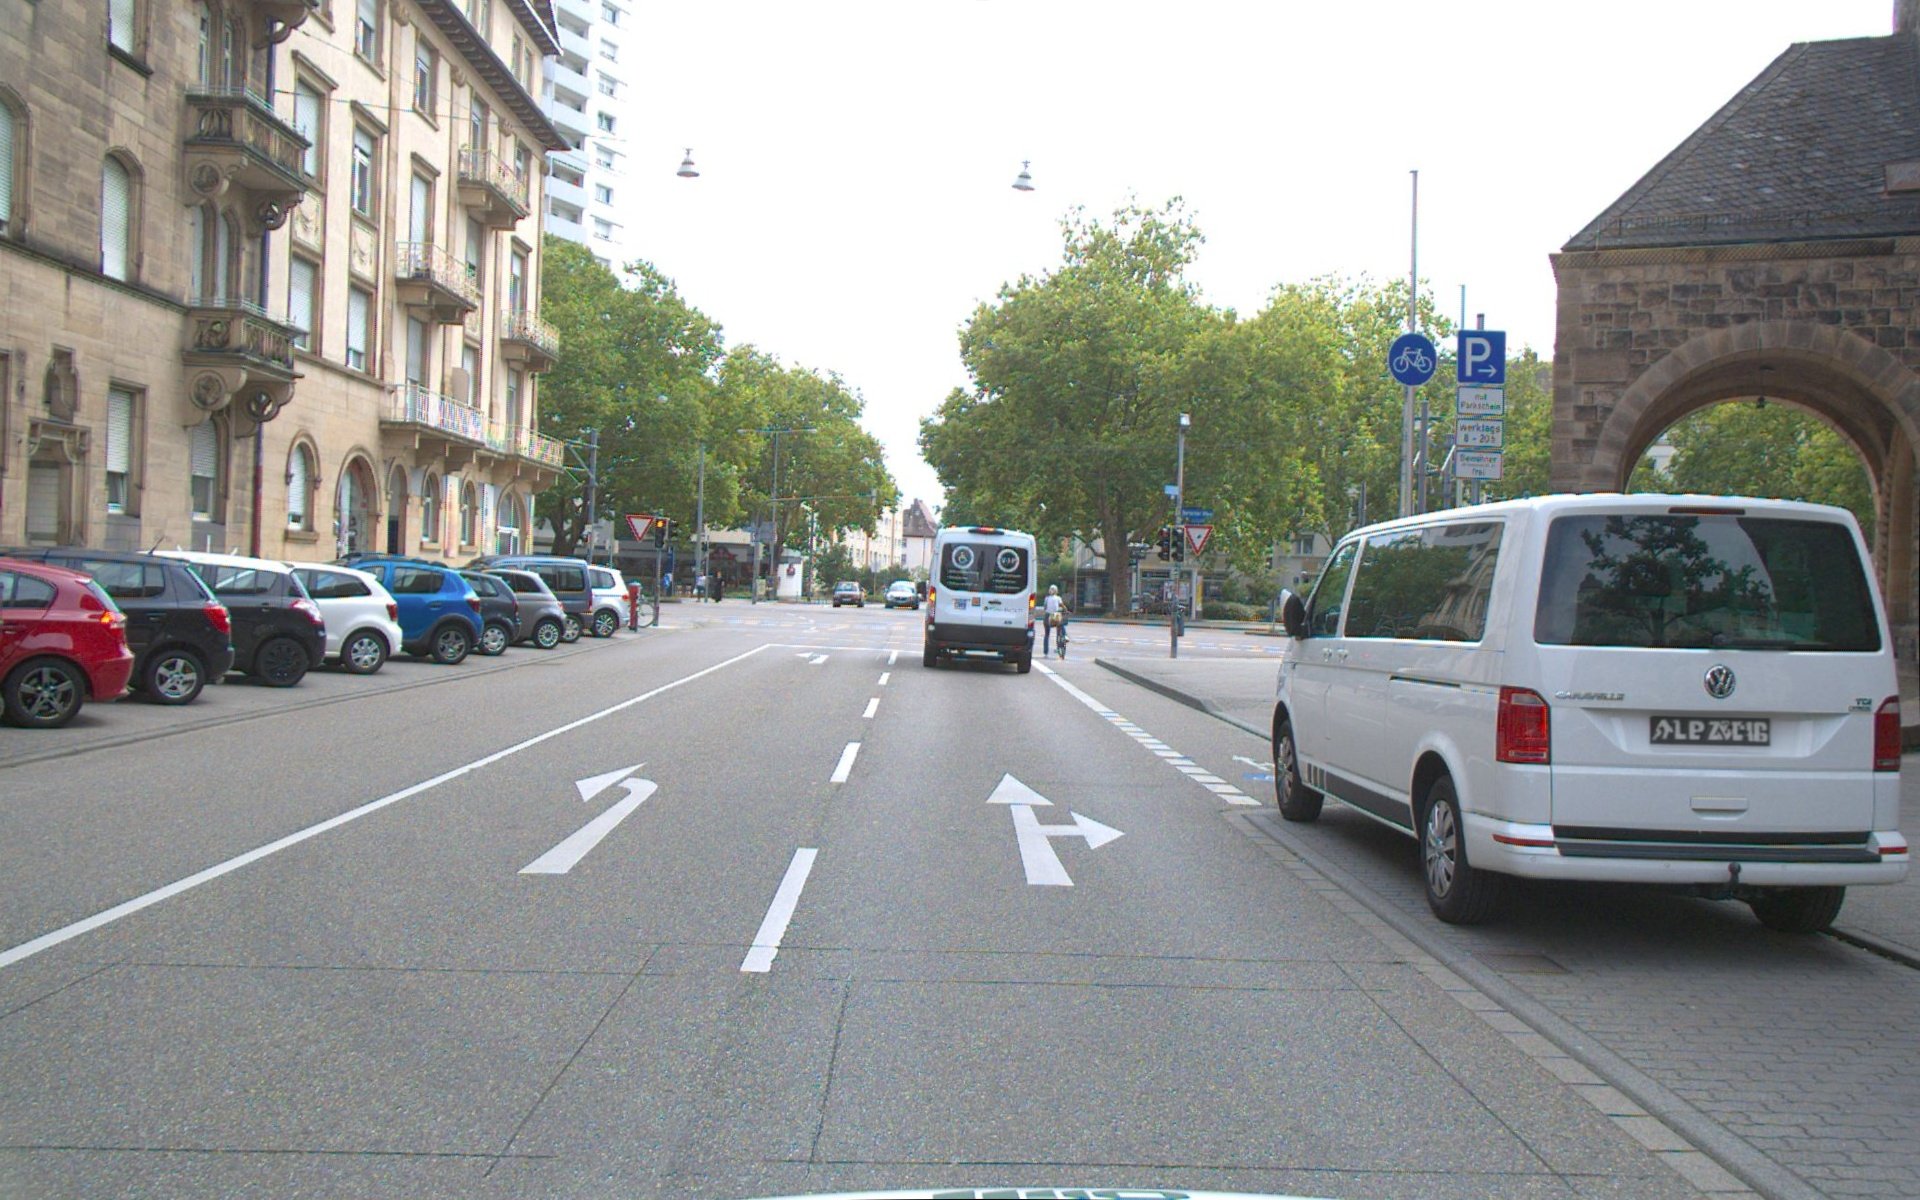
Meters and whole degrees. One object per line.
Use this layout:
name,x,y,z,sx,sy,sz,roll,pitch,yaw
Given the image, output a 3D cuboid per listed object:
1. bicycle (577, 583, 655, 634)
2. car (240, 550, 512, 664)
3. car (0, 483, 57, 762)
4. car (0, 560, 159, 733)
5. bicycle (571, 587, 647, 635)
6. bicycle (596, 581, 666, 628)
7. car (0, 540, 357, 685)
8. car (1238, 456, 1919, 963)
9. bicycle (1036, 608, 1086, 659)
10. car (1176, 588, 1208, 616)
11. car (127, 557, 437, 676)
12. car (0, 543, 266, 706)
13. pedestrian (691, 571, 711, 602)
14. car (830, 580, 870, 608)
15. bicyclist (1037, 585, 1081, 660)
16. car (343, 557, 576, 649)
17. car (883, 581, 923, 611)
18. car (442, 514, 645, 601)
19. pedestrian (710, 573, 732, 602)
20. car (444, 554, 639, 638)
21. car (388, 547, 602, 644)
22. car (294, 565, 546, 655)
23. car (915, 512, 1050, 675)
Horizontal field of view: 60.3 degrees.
bicycle,-8.866,0.216,42.648,1.772,1.139,0.594,5,0,3
car,-9.271,0.124,26.356,3.738,1.680,1.702,2,0,-38
car,-9.125,0.079,11.049,5.211,1.943,2.095,2,0,-36
car,-9.138,0.348,13.926,3.978,1.434,1.769,2,1,-42
bicycle,-8.907,0.273,41.976,1.771,1.140,0.594,2,0,5
bicycle,-9.116,0.122,45.808,1.837,1.187,0.498,4,0,20
car,-9.541,0.155,19.952,3.962,1.592,1.776,2,0,-33
car,3.086,0.400,9.334,1.974,2.064,5.122,1,1,-2
bicycle,2.333,0.758,38.458,0.885,1.093,1.969,2,0,-4
car,16.920,0.144,120.554,1.952,1.964,4.002,2,0,4
car,-9.362,0.235,22.934,3.647,1.507,1.719,2,0,-37
car,-9.190,0.219,16.444,3.952,1.529,1.611,2,0,-37
pedestrian,-13.842,-0.710,88.346,0.790,1.600,0.724,2,0,13
car,-6.314,-0.368,95.588,1.586,1.502,4.003,2,1,7
bicyclist,2.315,0.511,38.593,0.886,1.713,0.756,2,0,-4
car,-9.740,0.079,32.301,3.974,1.680,1.771,2,1,-40
car,-3.225,-0.236,94.643,1.696,1.619,4.003,2,1,7
car,-20.748,-2.112,82.300,9.687,3.983,3.453,2,0,24
pedestrian,-12.804,-0.656,88.489,0.910,1.541,0.724,2,0,13
car,-9.606,-0.082,38.116,3.974,1.804,1.771,2,0,-40
car,-9.776,-0.074,34.918,3.974,1.911,1.771,2,0,-40
car,-9.547,0.186,29.328,3.861,1.469,1.813,2,1,-37
car,0.326,-0.166,31.343,2.138,2.693,4.626,4,1,-2
